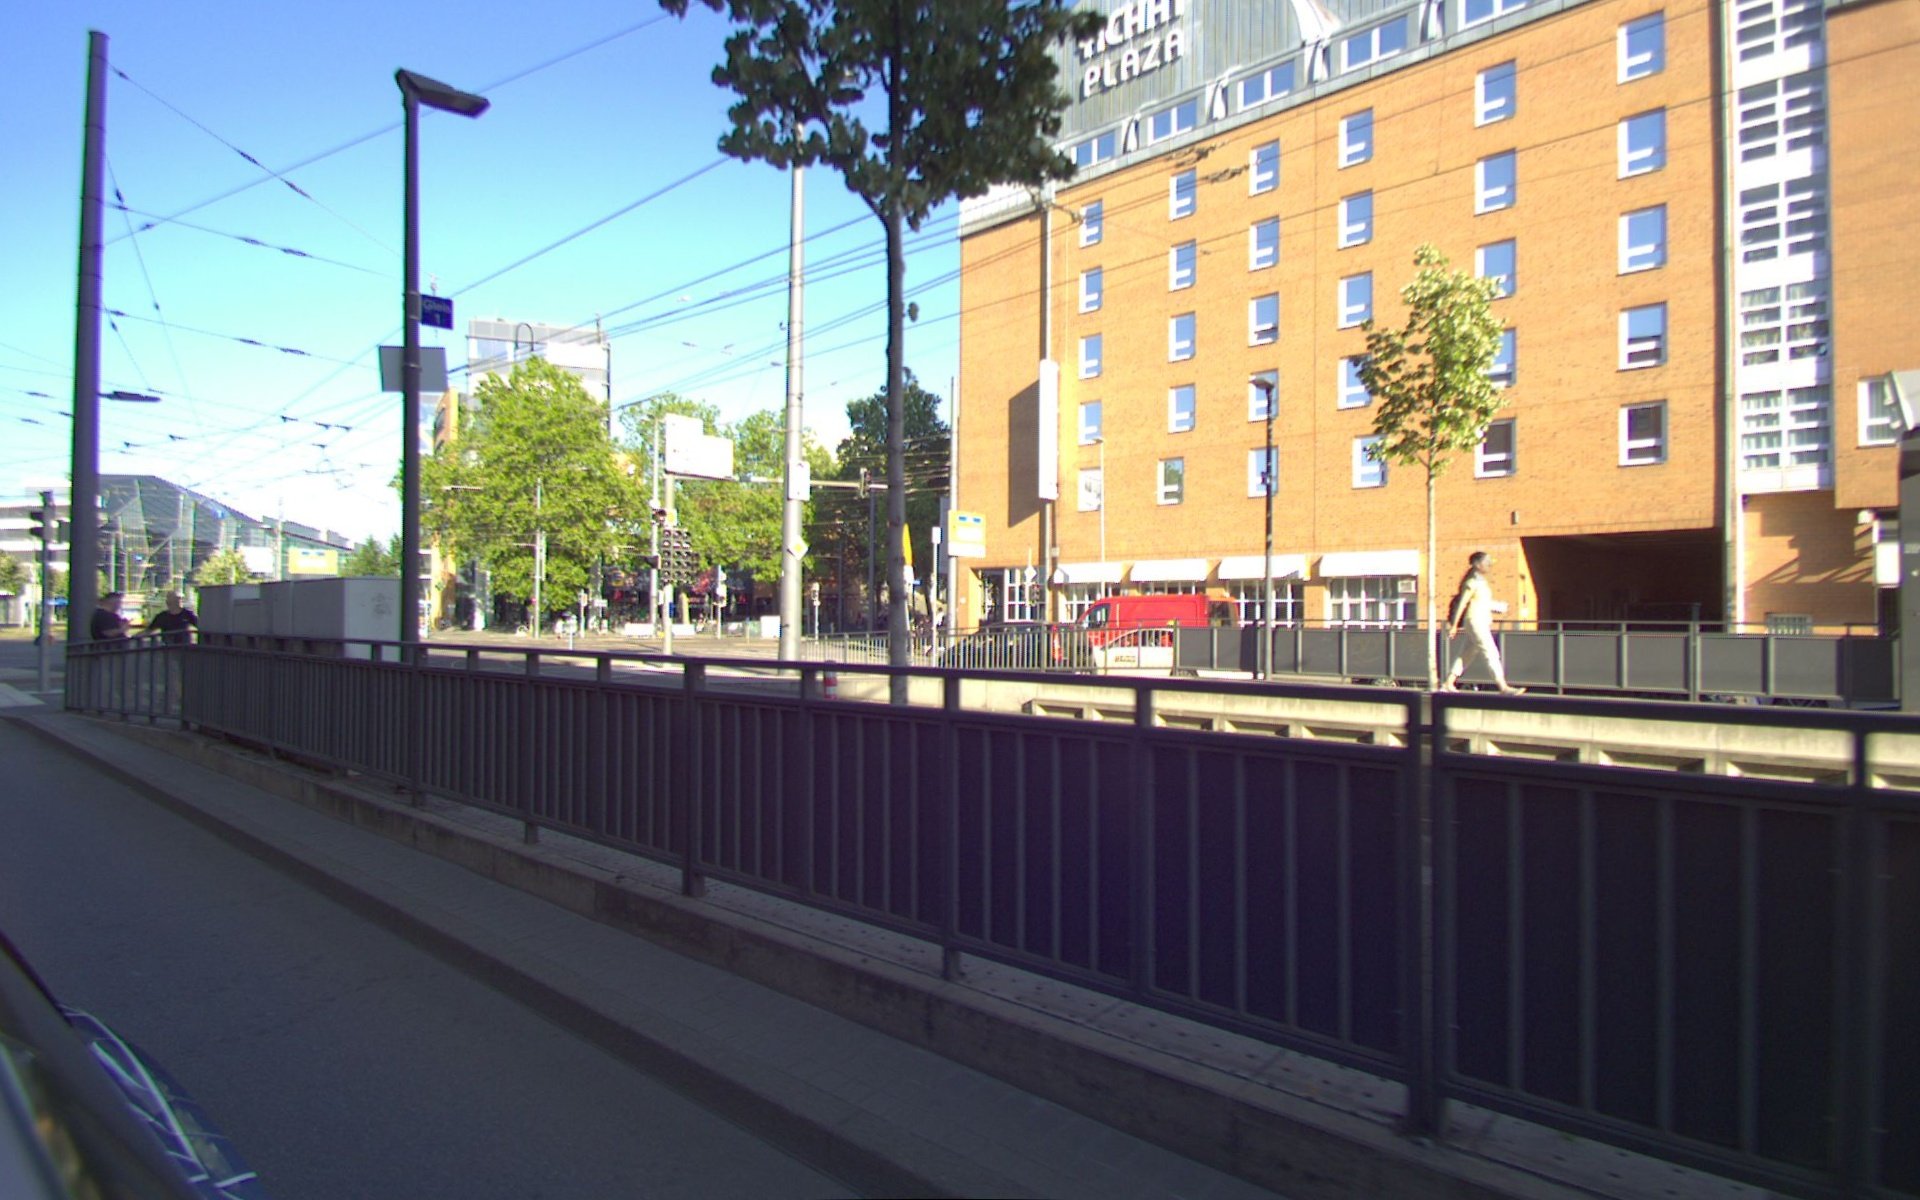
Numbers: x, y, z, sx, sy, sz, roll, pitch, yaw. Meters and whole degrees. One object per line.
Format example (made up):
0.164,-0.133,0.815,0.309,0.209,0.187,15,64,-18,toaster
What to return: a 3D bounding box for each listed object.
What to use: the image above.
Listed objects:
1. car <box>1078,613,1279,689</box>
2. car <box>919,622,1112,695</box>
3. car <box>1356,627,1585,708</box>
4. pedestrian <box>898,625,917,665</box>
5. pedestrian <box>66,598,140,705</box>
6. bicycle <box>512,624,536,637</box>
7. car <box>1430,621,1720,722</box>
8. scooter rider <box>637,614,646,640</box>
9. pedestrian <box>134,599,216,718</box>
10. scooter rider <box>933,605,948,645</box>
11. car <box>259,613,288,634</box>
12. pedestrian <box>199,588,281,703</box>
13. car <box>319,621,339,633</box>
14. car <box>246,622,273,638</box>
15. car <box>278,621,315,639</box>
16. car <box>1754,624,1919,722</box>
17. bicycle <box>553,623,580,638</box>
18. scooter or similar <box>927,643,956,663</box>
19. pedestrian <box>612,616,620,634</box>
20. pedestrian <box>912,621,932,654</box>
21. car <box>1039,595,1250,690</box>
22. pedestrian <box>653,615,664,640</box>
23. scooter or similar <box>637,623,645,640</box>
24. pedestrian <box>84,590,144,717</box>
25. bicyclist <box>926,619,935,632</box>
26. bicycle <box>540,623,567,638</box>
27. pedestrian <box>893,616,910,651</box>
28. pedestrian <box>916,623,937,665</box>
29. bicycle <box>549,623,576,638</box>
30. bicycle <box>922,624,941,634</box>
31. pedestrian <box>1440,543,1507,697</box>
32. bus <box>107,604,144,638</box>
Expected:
4.834,1.109,22.680,3.998,1.544,1.866,-2,-3,41,car
1.142,1.237,22.075,3.998,1.459,1.739,-2,-3,41,car
10.746,1.370,21.443,3.998,1.544,1.866,-2,-3,41,car
-2.254,1.926,43.569,0.630,1.731,0.780,1,-2,-19,pedestrian
-14.089,0.835,16.647,0.744,1.715,0.620,0,-2,20,pedestrian
-34.604,2.400,80.354,1.672,1.044,0.550,2,-2,-38,bicycle
10.490,1.164,17.417,3.998,1.544,1.866,-2,-3,41,car
-22.668,1.905,72.005,0.578,1.847,0.766,1,-1,-21,scooter rider
-10.647,0.770,13.731,0.851,1.550,0.705,-1,-2,41,pedestrian
-0.871,1.134,45.100,0.562,1.768,0.535,1,-1,-8,scooter rider
-85.583,2.955,126.247,1.965,2.499,5.993,1,-2,-25,car
-11.117,0.694,15.637,0.767,1.731,0.641,0,-1,2,pedestrian
-84.638,3.641,135.732,1.835,1.644,4.271,1,-2,-38,car
-66.734,2.886,96.391,1.610,1.463,4.006,2,-2,-41,car
-52.738,2.369,80.379,4.002,1.439,1.667,-2,-3,45,car
15.720,1.181,16.715,3.998,1.544,1.866,-2,-3,41,car
-30.509,2.353,78.521,1.815,1.138,0.776,2,-2,-42,bicycle
-0.843,2.358,45.066,1.219,0.837,0.546,1,-1,-9,scooter or similar
-33.049,2.416,97.220,0.535,1.682,0.571,1,-1,-9,pedestrian
-1.806,1.773,48.412,0.537,1.565,0.871,1,-2,-38,pedestrian
4.845,1.080,27.069,5.262,2.306,2.057,-1,-2,41,car
-21.624,1.952,72.645,0.661,1.810,0.571,1,-2,-25,pedestrian
-22.691,2.236,72.023,0.447,1.188,1.164,1,-1,-21,scooter or similar
-10.647,0.659,12.748,0.482,1.550,0.553,1,-2,-33,pedestrian
-3.196,2.786,109.868,0.943,1.355,0.676,1,-1,-11,bicyclist
-32.400,2.436,80.628,1.815,1.138,0.776,2,-2,-42,bicycle
-3.193,1.828,55.129,0.732,1.909,0.650,1,-2,-27,pedestrian
-1.414,1.843,42.685,0.630,1.731,0.780,1,-2,-19,pedestrian
-31.093,2.378,79.150,1.815,1.138,0.776,2,-2,-42,bicycle
-3.065,3.179,109.877,1.982,1.075,0.697,1,-1,-11,bicycle
5.890,0.227,11.602,0.575,1.696,0.671,-1,-2,37,pedestrian
-88.557,2.295,107.343,2.684,3.434,9.681,2,-3,-41,bus
